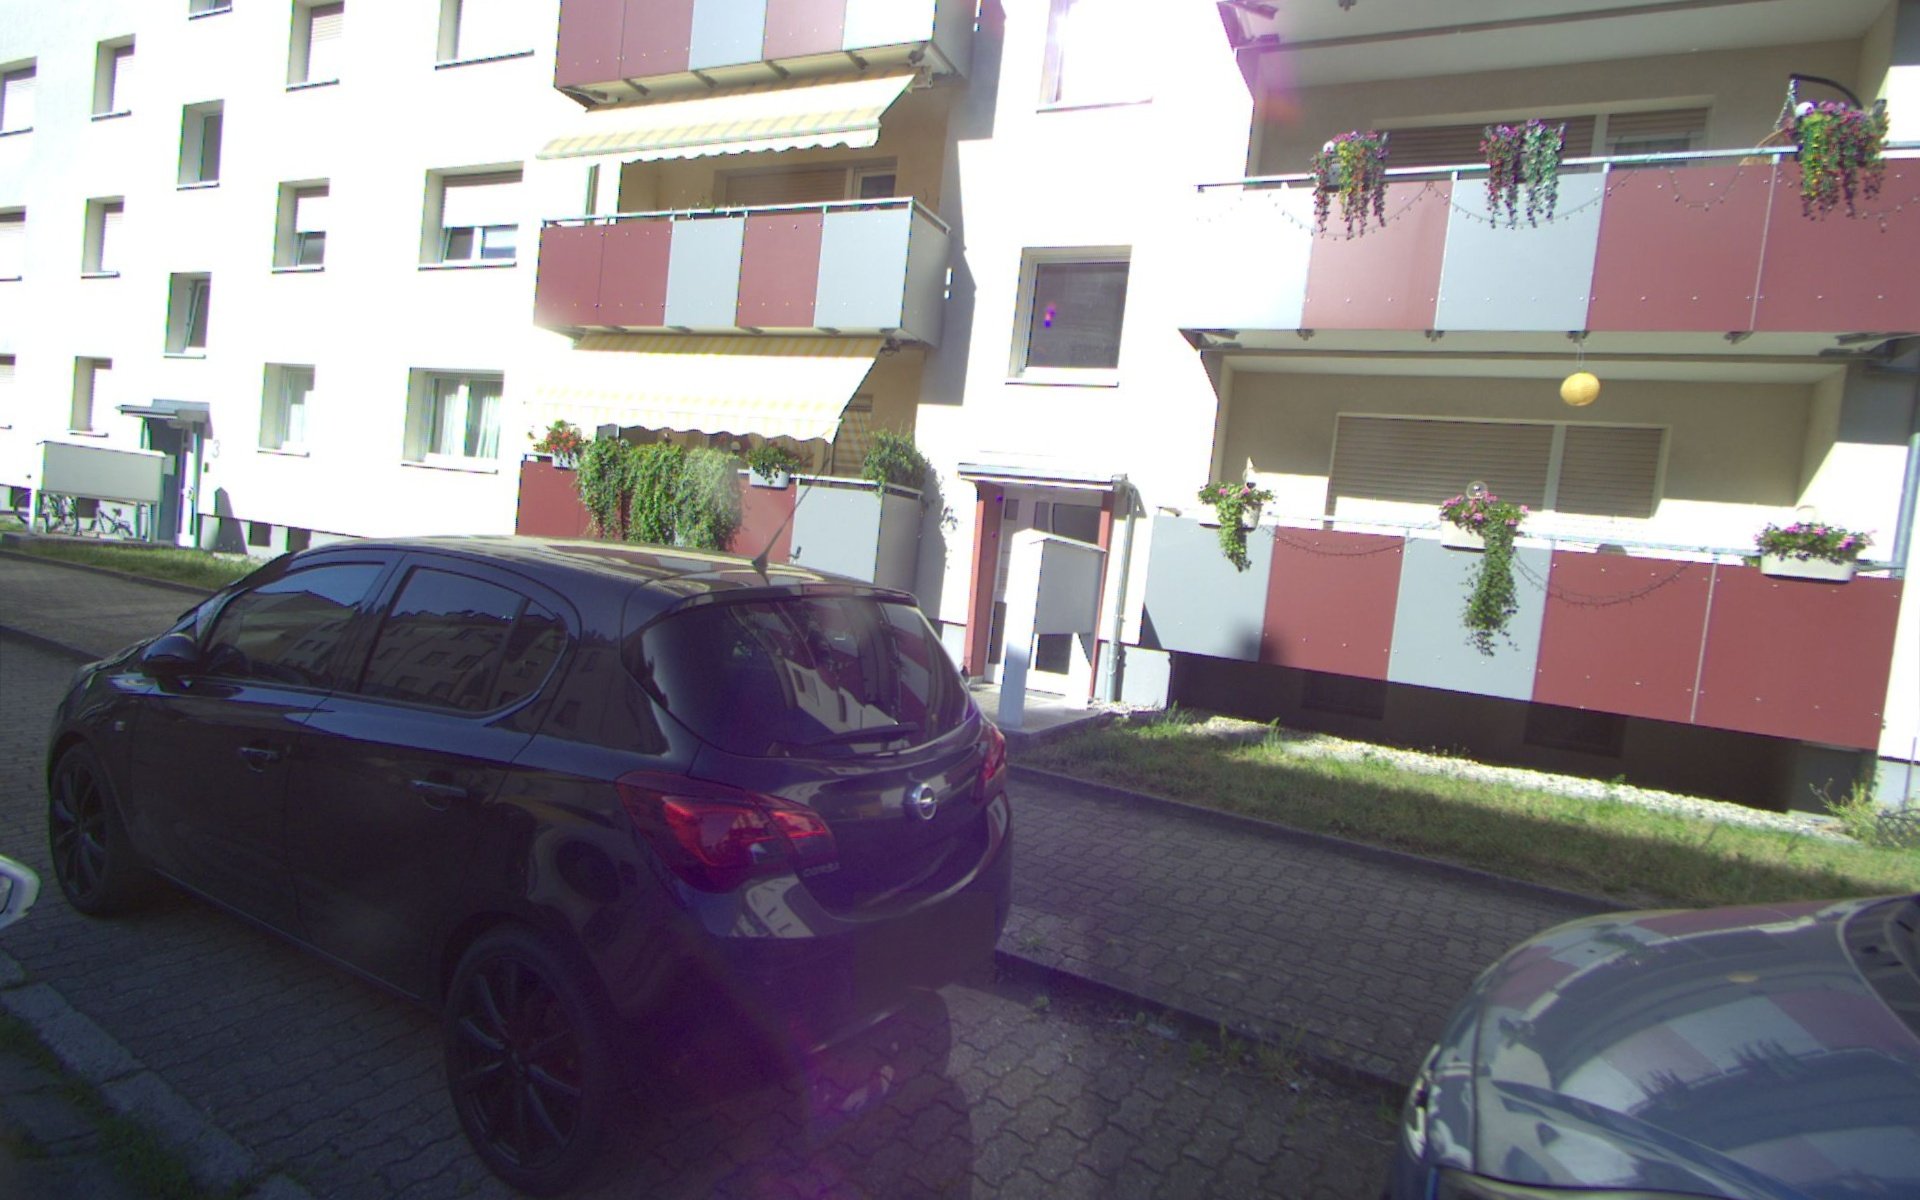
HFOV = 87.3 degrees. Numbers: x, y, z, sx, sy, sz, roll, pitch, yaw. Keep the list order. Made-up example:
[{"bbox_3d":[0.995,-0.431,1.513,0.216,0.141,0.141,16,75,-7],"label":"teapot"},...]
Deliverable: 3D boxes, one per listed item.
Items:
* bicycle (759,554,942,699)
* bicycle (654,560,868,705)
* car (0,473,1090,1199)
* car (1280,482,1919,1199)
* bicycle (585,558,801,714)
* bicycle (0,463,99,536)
[{"bbox_3d":[-1.075,0.222,9.675,1.731,1.167,0.407,7,5,27],"label":"bicycle"},{"bbox_3d":[-1.806,0.246,9.018,1.863,0.993,0.617,9,7,28],"label":"bicycle"},{"bbox_3d":[-1.694,0.472,3.654,3.820,1.530,1.734,7,5,31],"label":"car"},{"bbox_3d":[2.539,0.881,0.978,3.973,1.658,1.765,6,3,31],"label":"car"},{"bbox_3d":[-2.224,0.259,8.281,1.809,1.034,0.497,7,5,28],"label":"bicycle"},{"bbox_3d":[-15.752,-1.735,17.393,1.701,1.085,0.649,8,8,24],"label":"bicycle"}]
